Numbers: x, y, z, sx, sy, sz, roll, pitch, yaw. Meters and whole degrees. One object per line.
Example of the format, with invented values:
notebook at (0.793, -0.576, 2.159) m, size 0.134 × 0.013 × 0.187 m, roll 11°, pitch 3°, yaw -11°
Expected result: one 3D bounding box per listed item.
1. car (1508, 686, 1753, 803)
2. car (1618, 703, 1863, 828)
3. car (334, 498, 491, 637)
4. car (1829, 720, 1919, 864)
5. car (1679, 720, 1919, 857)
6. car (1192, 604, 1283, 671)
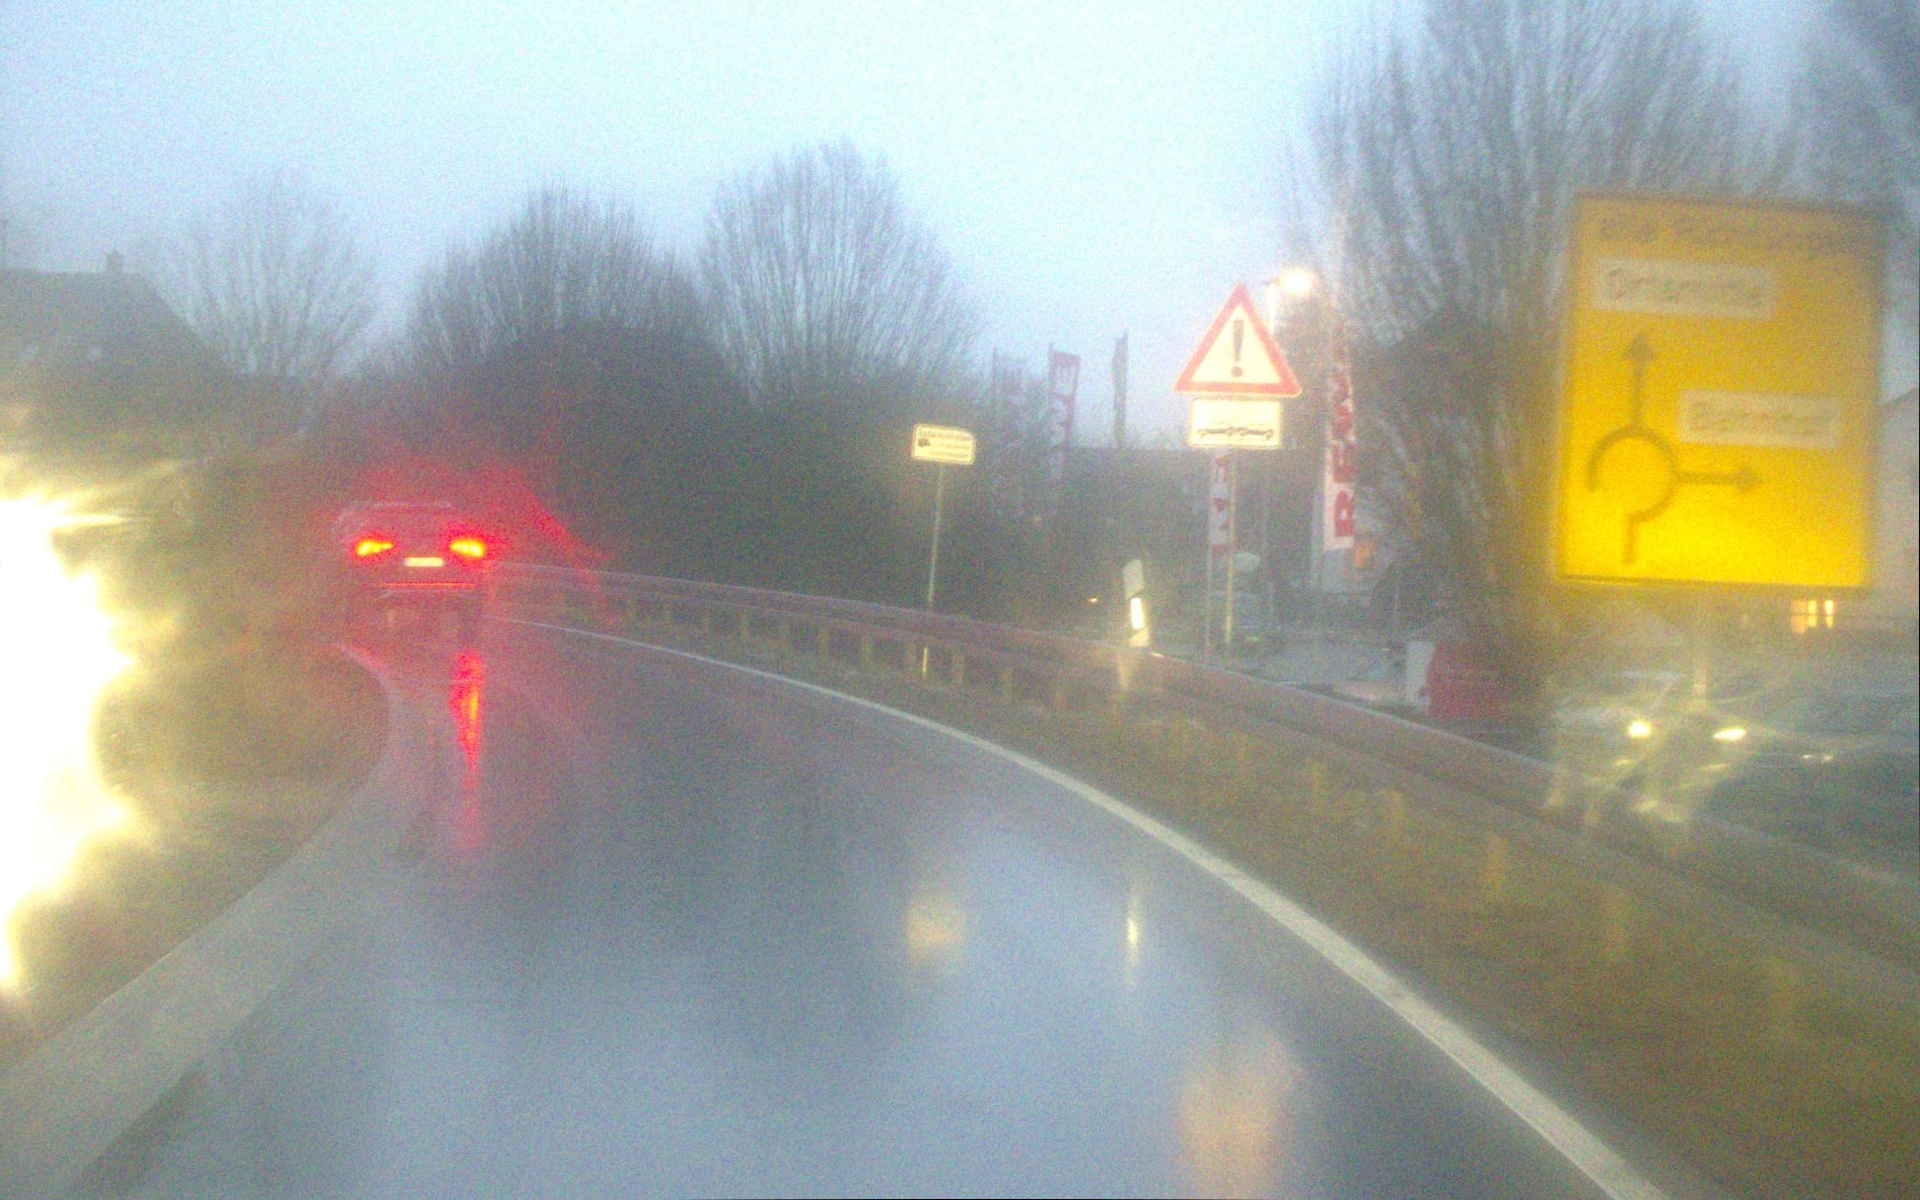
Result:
car at (9.522, 2.010, 48.636) m, size 1.795 × 1.434 × 3.991 m, roll 2°, pitch 1°, yaw 37°
car at (10.364, 2.152, 45.475) m, size 1.630 × 1.415 × 3.991 m, roll 2°, pitch 1°, yaw 37°
car at (-7.384, -0.442, 46.371) m, size 1.944 × 1.712 × 4.001 m, roll 2°, pitch 0°, yaw -9°
car at (11.644, 2.099, 38.269) m, size 1.930 × 1.450 × 4.576 m, roll 1°, pitch 0°, yaw 41°
car at (10.484, 2.280, 42.311) m, size 1.630 × 1.415 × 3.991 m, roll 2°, pitch 1°, yaw 37°
car at (7.004, 0.934, 87.147) m, size 1.937 × 1.541 × 4.000 m, roll 1°, pitch 1°, yaw 0°
